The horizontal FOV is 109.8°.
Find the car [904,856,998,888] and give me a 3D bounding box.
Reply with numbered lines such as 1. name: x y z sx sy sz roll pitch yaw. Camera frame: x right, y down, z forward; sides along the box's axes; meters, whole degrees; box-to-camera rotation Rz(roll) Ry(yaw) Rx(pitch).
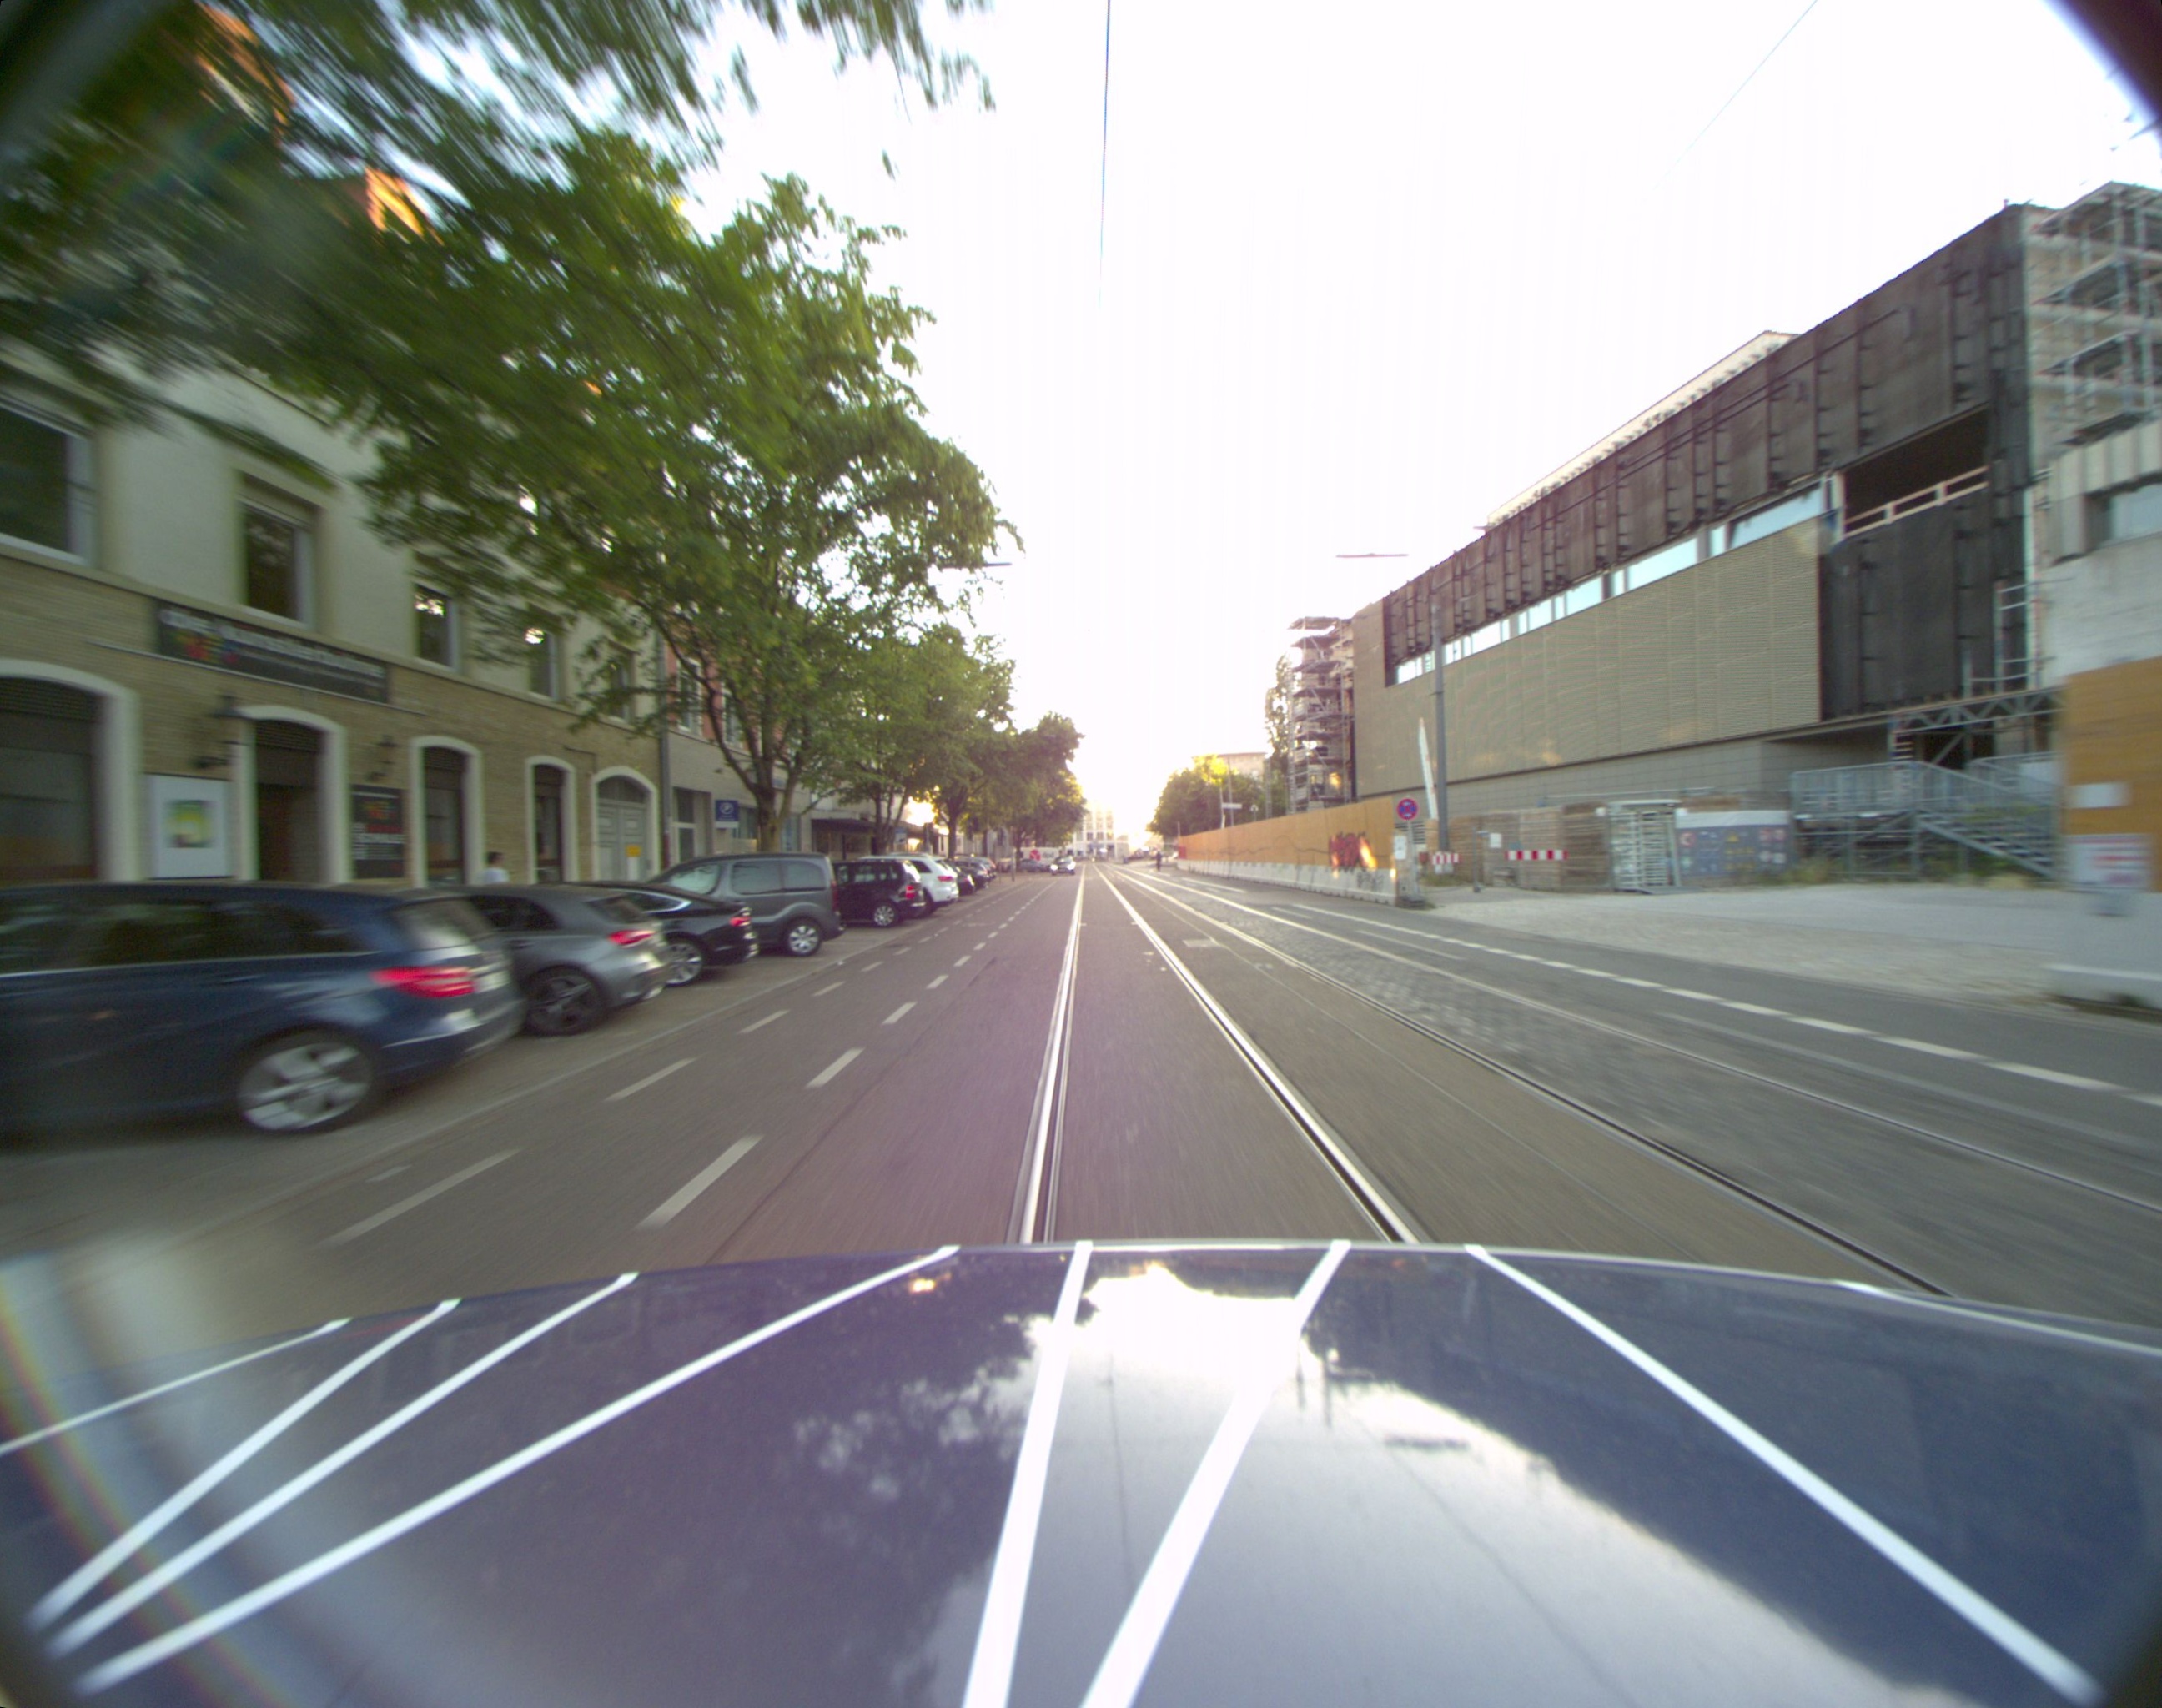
1. car: -6.393 0.877 37.396 4.174 1.456 1.967 1 0 -27

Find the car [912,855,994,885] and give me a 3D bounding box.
1. car: -6.764 0.860 40.299 3.901 1.493 1.809 1 0 -30

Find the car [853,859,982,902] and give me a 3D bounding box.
1. car: -6.004 0.967 27.899 4.233 1.418 1.971 2 0 -27

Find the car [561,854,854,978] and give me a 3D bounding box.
1. car: -6.185 0.906 12.918 4.167 1.796 2.003 0 0 -28

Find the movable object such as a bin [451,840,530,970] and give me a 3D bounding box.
1. movable object such as a bin: -9.388 0.787 12.102 0.614 2.002 0.695 -2 1 -1

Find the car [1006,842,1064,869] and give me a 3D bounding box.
1. car: -4.826 0.161 79.827 5.650 2.678 2.166 -1 0 -34

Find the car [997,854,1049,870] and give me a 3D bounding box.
1. car: -5.625 0.813 73.307 4.614 1.504 1.859 1 -1 -25

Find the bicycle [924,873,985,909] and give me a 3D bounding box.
1. bicycle: -4.002 1.169 23.957 1.842 1.096 0.497 1 0 -13

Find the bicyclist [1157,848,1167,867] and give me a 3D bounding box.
1. bicyclist: 7.290 0.293 68.767 0.770 1.656 1.018 -2 0 0

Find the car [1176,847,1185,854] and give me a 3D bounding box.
1. car: 25.428 -0.887 194.081 1.997 1.674 4.003 -2 0 10

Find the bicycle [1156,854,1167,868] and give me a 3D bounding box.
1. bicycle: 7.296 0.651 68.794 0.770 1.221 1.936 -2 0 0

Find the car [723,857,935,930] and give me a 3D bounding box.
1. car: -6.122 0.955 18.951 4.662 1.678 2.007 1 0 -5

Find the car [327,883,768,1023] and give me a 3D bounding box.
1. car: -6.511 1.112 9.870 4.331 1.381 1.802 1 0 -30

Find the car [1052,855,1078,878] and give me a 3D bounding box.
1. car: -1.270 0.988 61.925 1.840 1.631 4.169 -5 0 1

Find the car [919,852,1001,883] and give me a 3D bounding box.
1. car: -6.808 0.765 43.046 4.176 1.654 1.837 1 0 -34

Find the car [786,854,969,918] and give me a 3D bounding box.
1. car: -5.687 0.880 21.675 4.661 1.678 2.008 1 0 0

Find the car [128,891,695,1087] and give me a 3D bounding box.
1. car: -5.992 1.134 7.429 3.788 1.399 1.703 0 0 -21

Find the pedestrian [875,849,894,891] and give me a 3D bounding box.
1. pedestrian: -9.441 0.766 36.531 0.693 1.974 0.786 1 1 0

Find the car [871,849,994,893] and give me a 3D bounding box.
1. car: -6.494 0.734 33.081 4.984 1.816 2.204 1 0 -18

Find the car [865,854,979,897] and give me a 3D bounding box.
1. car: -6.406 0.846 30.503 4.230 1.639 1.972 1 0 -19

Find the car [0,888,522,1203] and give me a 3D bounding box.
1. car: -6.107 1.053 4.708 3.979 1.544 1.702 0 0 -25
